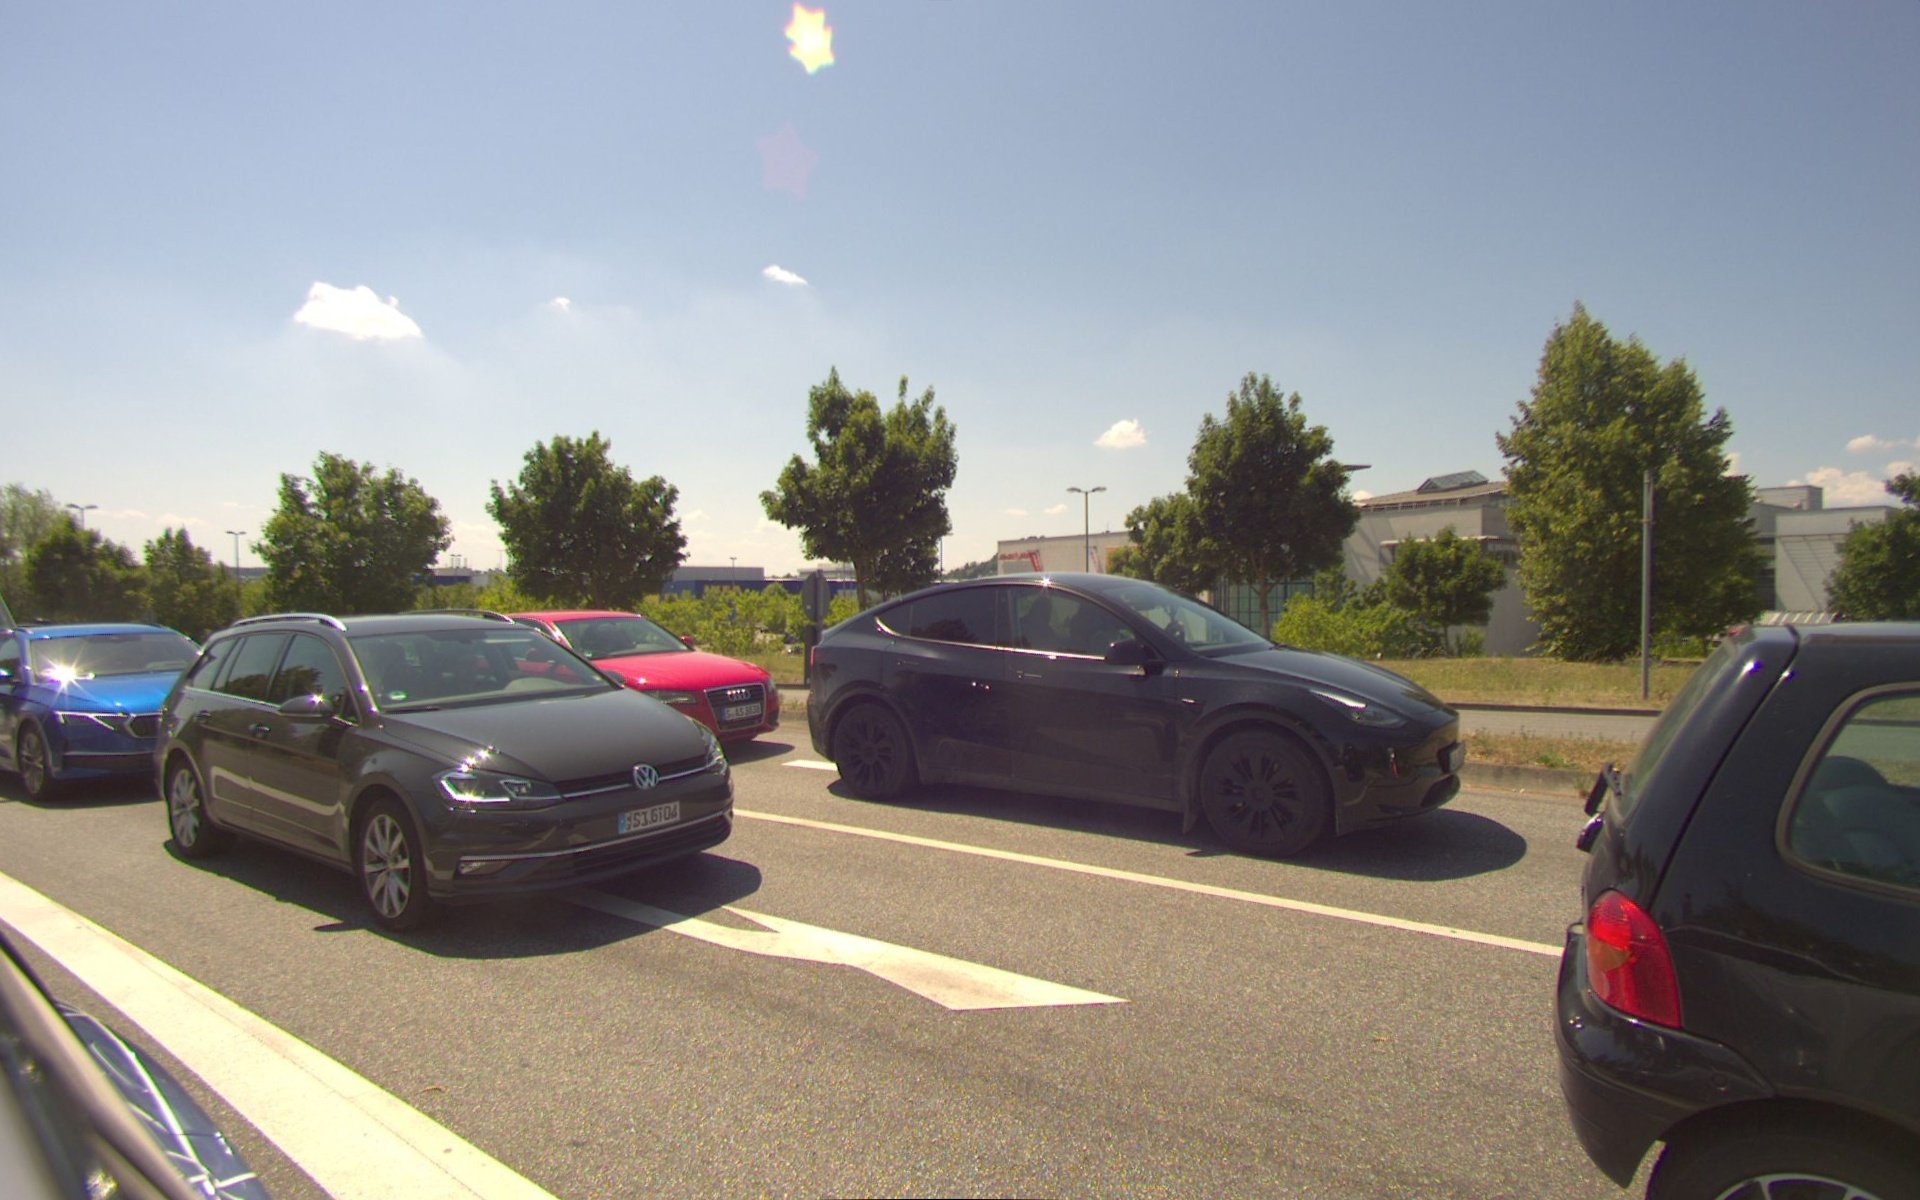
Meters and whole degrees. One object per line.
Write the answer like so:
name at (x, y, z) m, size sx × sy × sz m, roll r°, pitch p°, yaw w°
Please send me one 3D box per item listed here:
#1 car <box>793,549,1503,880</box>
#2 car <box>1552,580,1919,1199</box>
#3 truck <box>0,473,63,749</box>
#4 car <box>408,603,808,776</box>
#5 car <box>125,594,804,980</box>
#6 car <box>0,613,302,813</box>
car at (1.109, 0.580, 7.027) m, size 4.496 × 1.613 × 1.859 m, roll -1°, pitch 0°, yaw 36°
car at (2.883, 0.666, 1.508) m, size 3.295 × 1.418 × 1.604 m, roll -1°, pitch -1°, yaw 37°
truck at (-15.109, 0.281, 13.703) m, size 7.176 × 3.373 × 2.390 m, roll -3°, pitch -1°, yaw 31°
car at (-3.767, 0.781, 10.467) m, size 4.440 × 1.399 × 1.646 m, roll -1°, pitch 1°, yaw 36°
car at (-3.129, 0.763, 5.976) m, size 4.420 × 1.493 × 1.762 m, roll -1°, pitch 0°, yaw 36°
car at (-8.320, 0.946, 9.625) m, size 4.474 × 1.473 × 1.695 m, roll -2°, pitch 0°, yaw 32°
